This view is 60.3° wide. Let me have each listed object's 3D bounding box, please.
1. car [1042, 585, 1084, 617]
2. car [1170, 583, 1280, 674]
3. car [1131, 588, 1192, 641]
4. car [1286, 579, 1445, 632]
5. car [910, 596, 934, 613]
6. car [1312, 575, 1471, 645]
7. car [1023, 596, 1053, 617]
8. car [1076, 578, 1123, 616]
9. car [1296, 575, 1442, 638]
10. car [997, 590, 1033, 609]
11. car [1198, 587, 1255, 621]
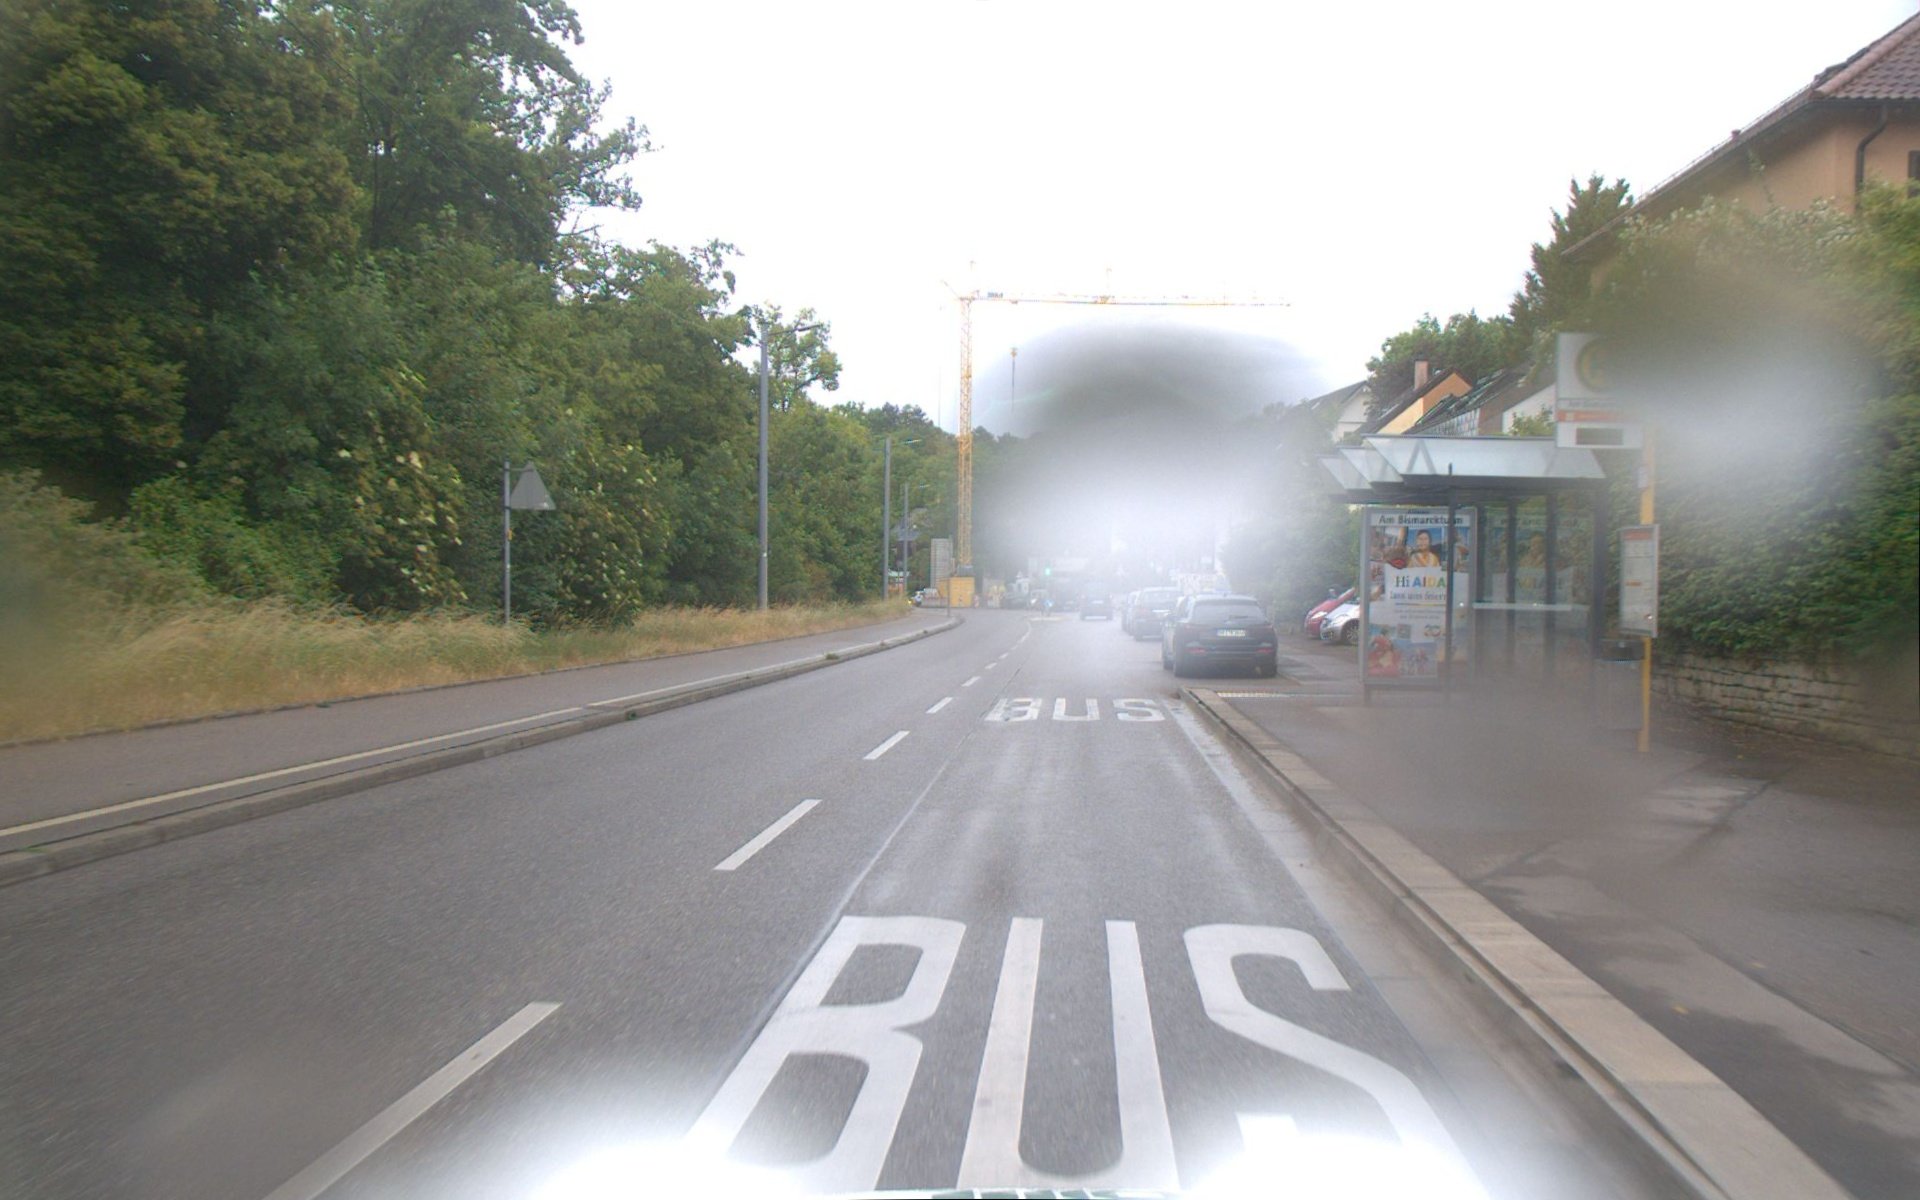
[{"bbox_3d":[7.017,0.087,113.101,1.956,2.049,4.948,-2,0,-7],"label":"car"},{"bbox_3d":[4.887,0.526,30.994,1.791,1.574,4.632,0,-1,6],"label":"car"},{"bbox_3d":[6.268,0.420,51.824,1.694,1.595,4.524,-1,0,4],"label":"car"},{"bbox_3d":[11.573,0.175,47.422,4.156,1.486,1.883,0,-1,4],"label":"car"},{"bbox_3d":[-4.132,0.509,178.491,1.715,1.735,4.487,-2,0,-13],"label":"car"},{"bbox_3d":[11.010,0.241,42.376,3.582,1.563,1.829,-3,0,1],"label":"car"},{"bbox_3d":[5.786,0.470,122.658,1.641,1.483,3.380,-1,0,-7],"label":"car"},{"bbox_3d":[7.095,-0.140,84.273,1.893,1.782,3.999,3,-1,-1],"label":"car"},{"bbox_3d":[11.186,0.191,45.371,3.581,1.593,1.883,-2,0,4],"label":"car"},{"bbox_3d":[4.504,-0.080,136.587,1.897,1.447,4.824,2,0,-11],"label":"car"},{"bbox_3d":[14.017,0.233,87.246,1.894,1.624,4.337,3,-1,-5],"label":"car"}]
